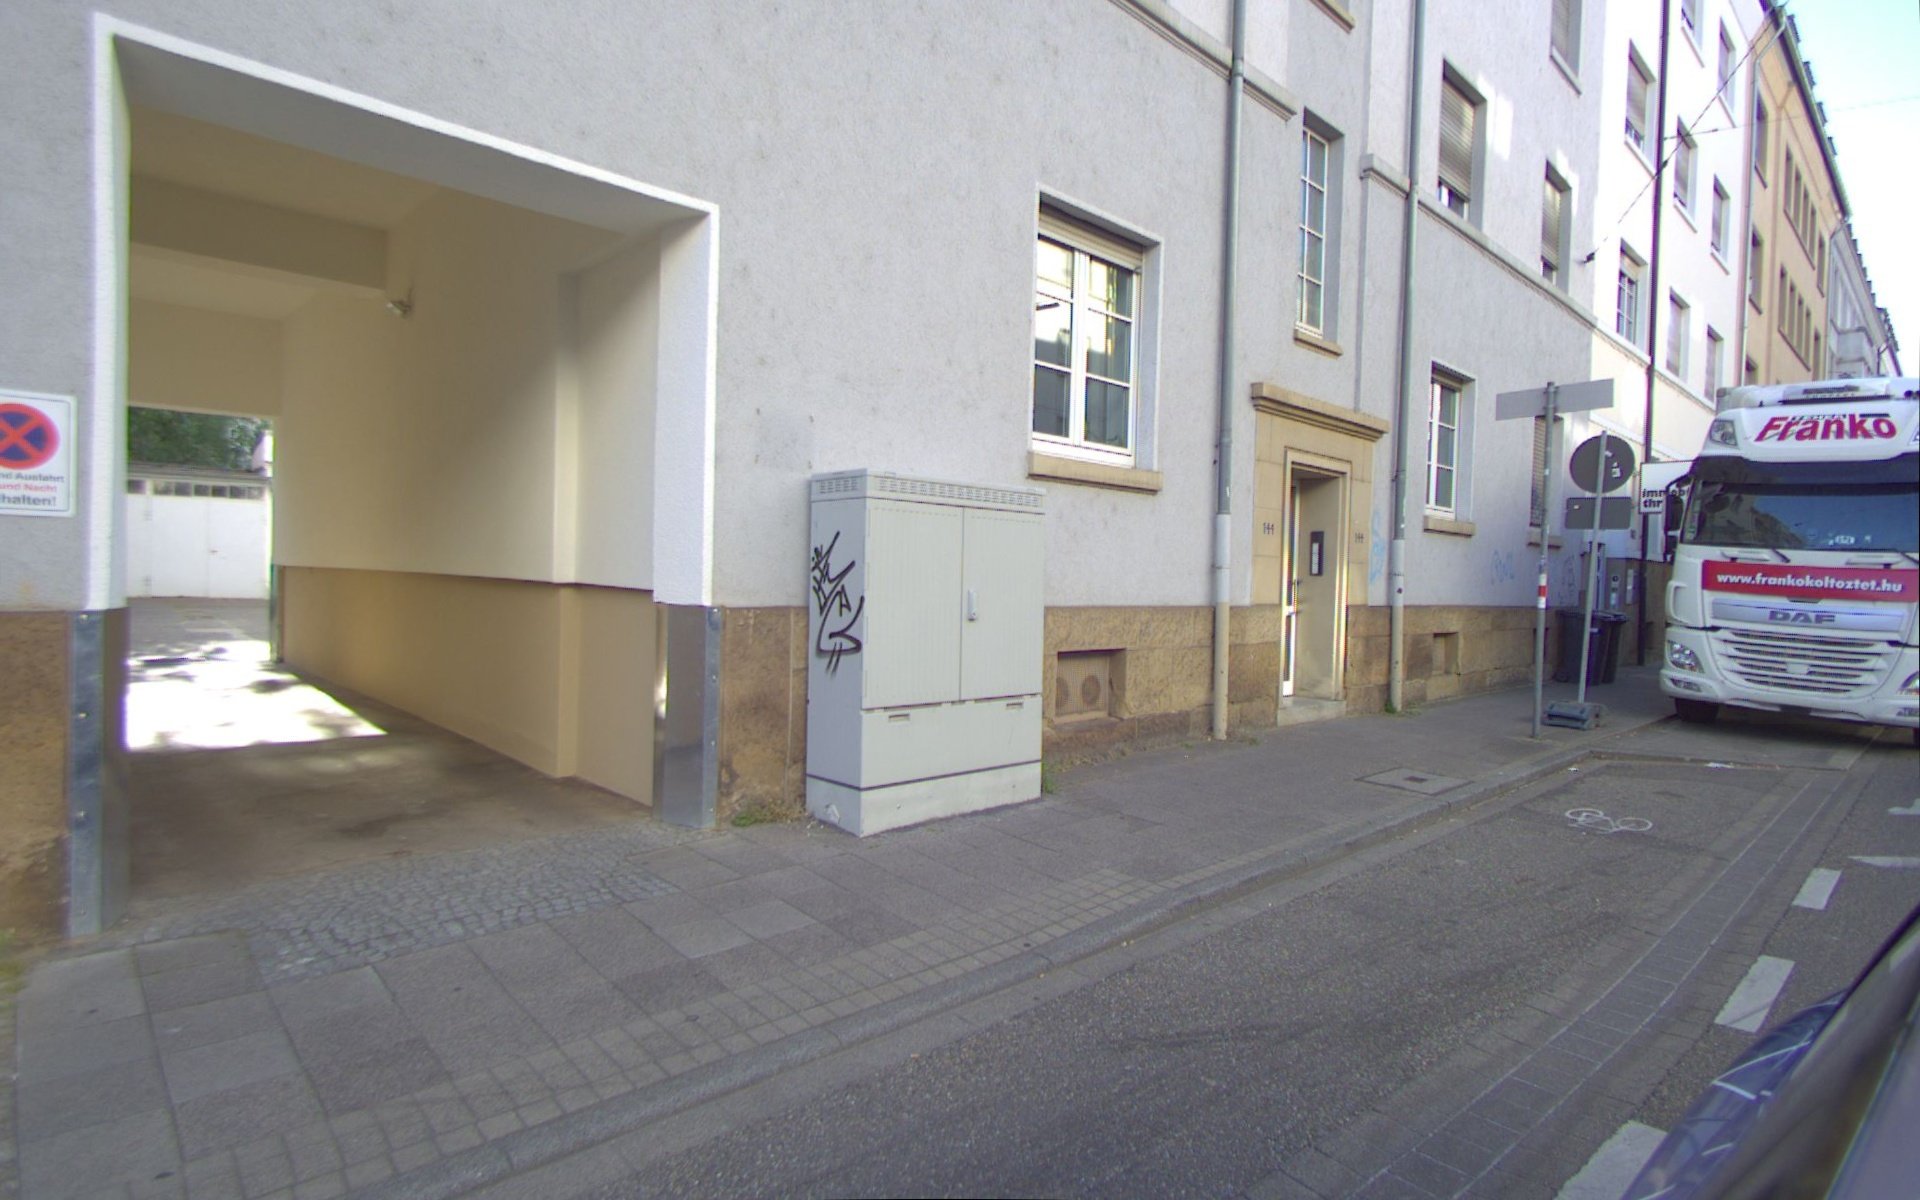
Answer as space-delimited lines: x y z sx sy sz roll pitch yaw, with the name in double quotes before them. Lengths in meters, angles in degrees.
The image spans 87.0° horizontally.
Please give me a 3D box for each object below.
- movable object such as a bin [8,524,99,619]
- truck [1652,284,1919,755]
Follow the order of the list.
"movable object such as a bin" -15.138 -0.466 16.928 1.091 1.512 1.328 0 0 -41
"truck" 12.530 -0.856 13.659 11.579 4.290 2.697 -1 3 -43
